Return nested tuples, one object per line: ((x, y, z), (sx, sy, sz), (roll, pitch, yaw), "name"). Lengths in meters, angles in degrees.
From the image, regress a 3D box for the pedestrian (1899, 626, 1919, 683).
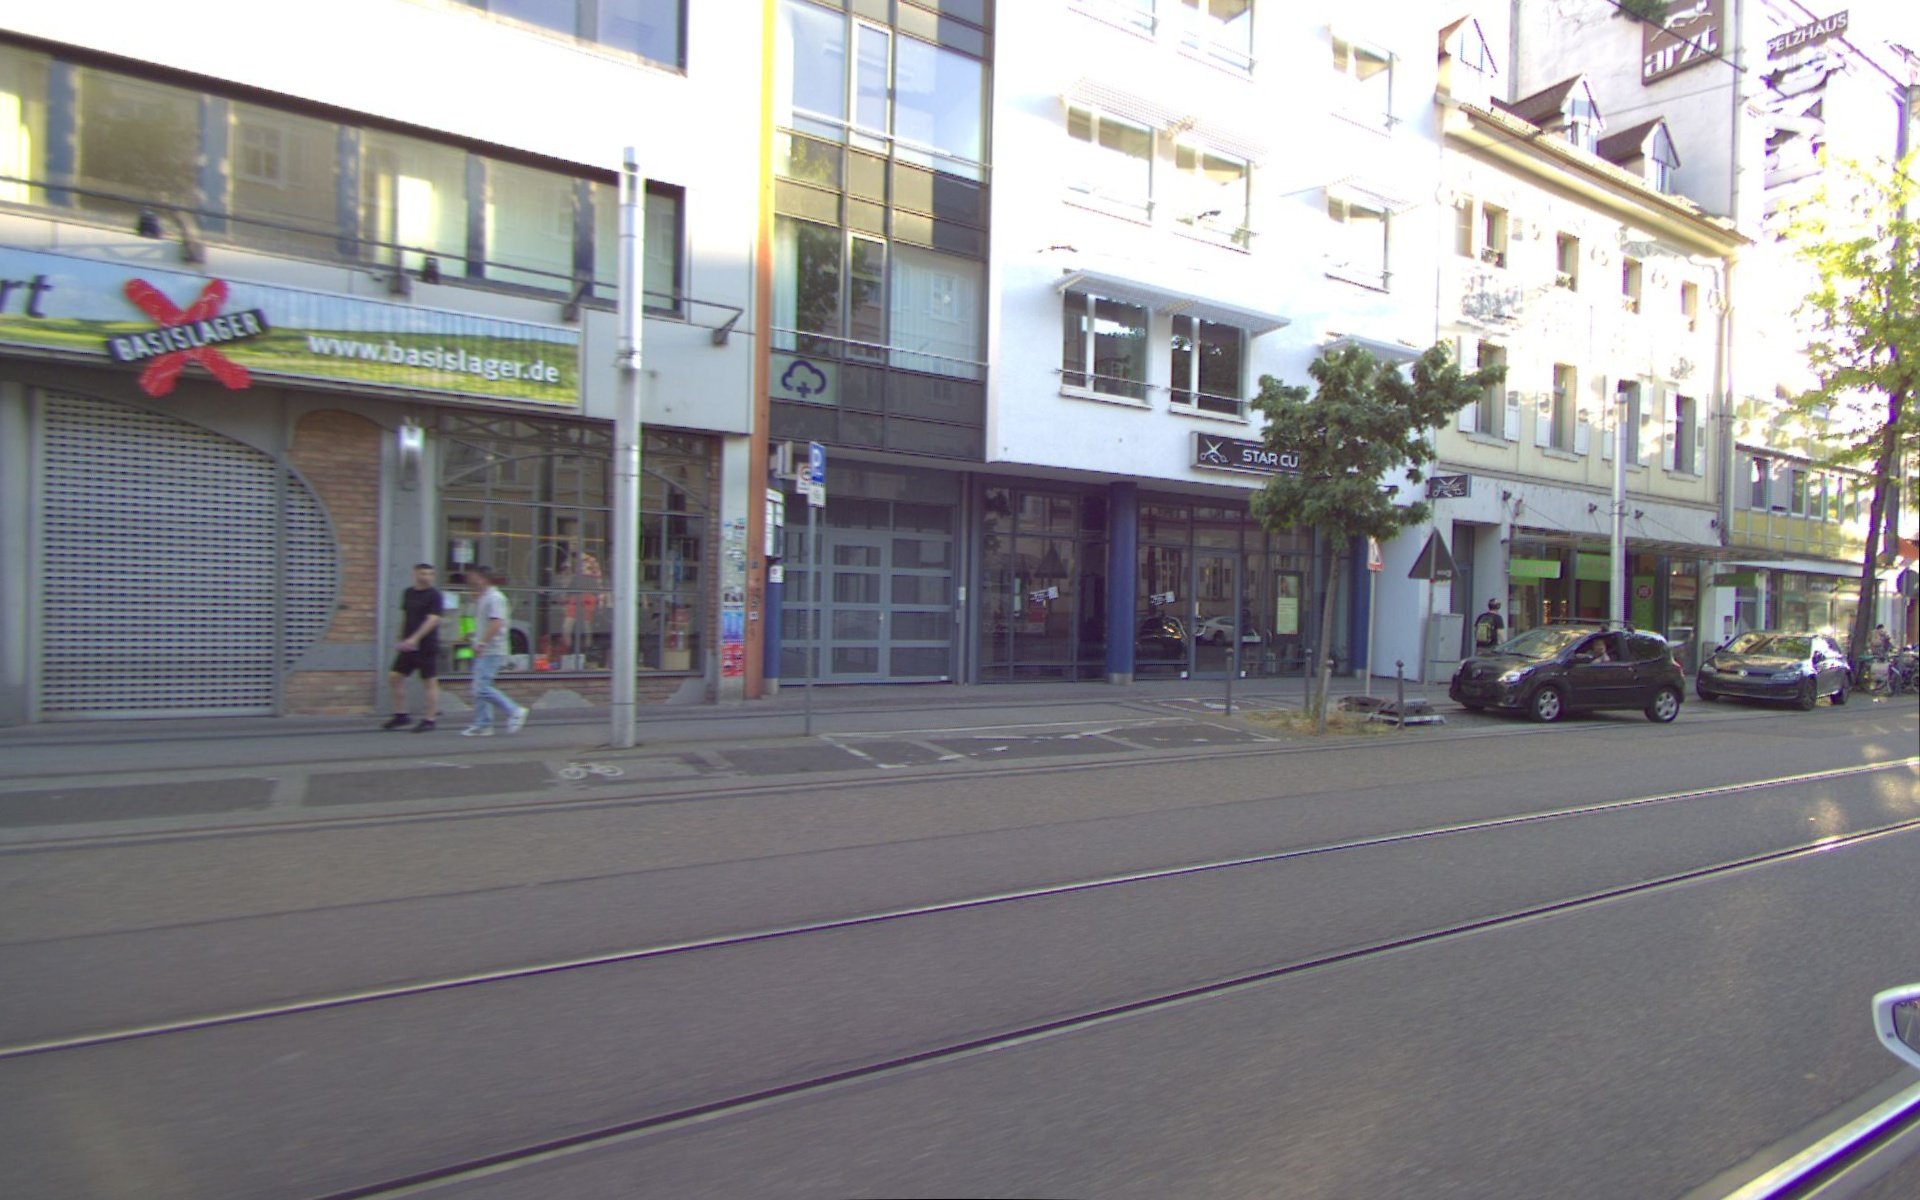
((29.599, 1.672, 30.908), (0.732, 1.716, 0.839), (1, 0, -31), "pedestrian")

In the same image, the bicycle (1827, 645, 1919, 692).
((22.300, 1.644, 24.355), (0.326, 1.014, 1.963), (1, 0, -27), "bicycle")

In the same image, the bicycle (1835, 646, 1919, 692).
((22.118, 1.637, 23.898), (0.326, 1.014, 1.963), (1, 0, -27), "bicycle")

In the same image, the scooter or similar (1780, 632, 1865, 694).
((19.700, 1.421, 22.967), (0.370, 1.287, 1.414), (1, 2, -25), "scooter or similar")

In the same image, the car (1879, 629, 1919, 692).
((25.171, 1.530, 25.300), (4.433, 1.480, 1.703), (2, 1, -30), "car")

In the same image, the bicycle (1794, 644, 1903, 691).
((21.419, 1.608, 24.254), (0.414, 1.014, 1.965), (1, 0, -25), "bicycle")

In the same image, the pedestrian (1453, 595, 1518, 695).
((10.092, 0.853, 19.287), (0.868, 1.850, 0.656), (1, 3, -30), "pedestrian")

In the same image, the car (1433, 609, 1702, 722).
((9.819, 1.027, 16.303), (3.647, 1.638, 1.630), (1, 1, -16), "car")

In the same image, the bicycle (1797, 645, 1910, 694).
((20.593, 1.582, 23.199), (0.326, 1.014, 1.963), (1, 0, -27), "bicycle")

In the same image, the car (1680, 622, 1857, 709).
((16.600, 1.277, 20.563), (4.202, 1.510, 1.779), (2, 1, -37), "car")

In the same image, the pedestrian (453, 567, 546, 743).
((-4.755, 0.547, 10.371), (0.818, 1.736, 0.639), (1, 1, -26), "pedestrian")

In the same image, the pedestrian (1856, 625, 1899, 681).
((28.957, 1.660, 31.711), (0.903, 1.716, 0.785), (1, 0, -31), "pedestrian")

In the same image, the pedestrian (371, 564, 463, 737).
((-5.674, 0.506, 10.531), (0.797, 1.736, 0.625), (1, 1, -26), "pedestrian")
